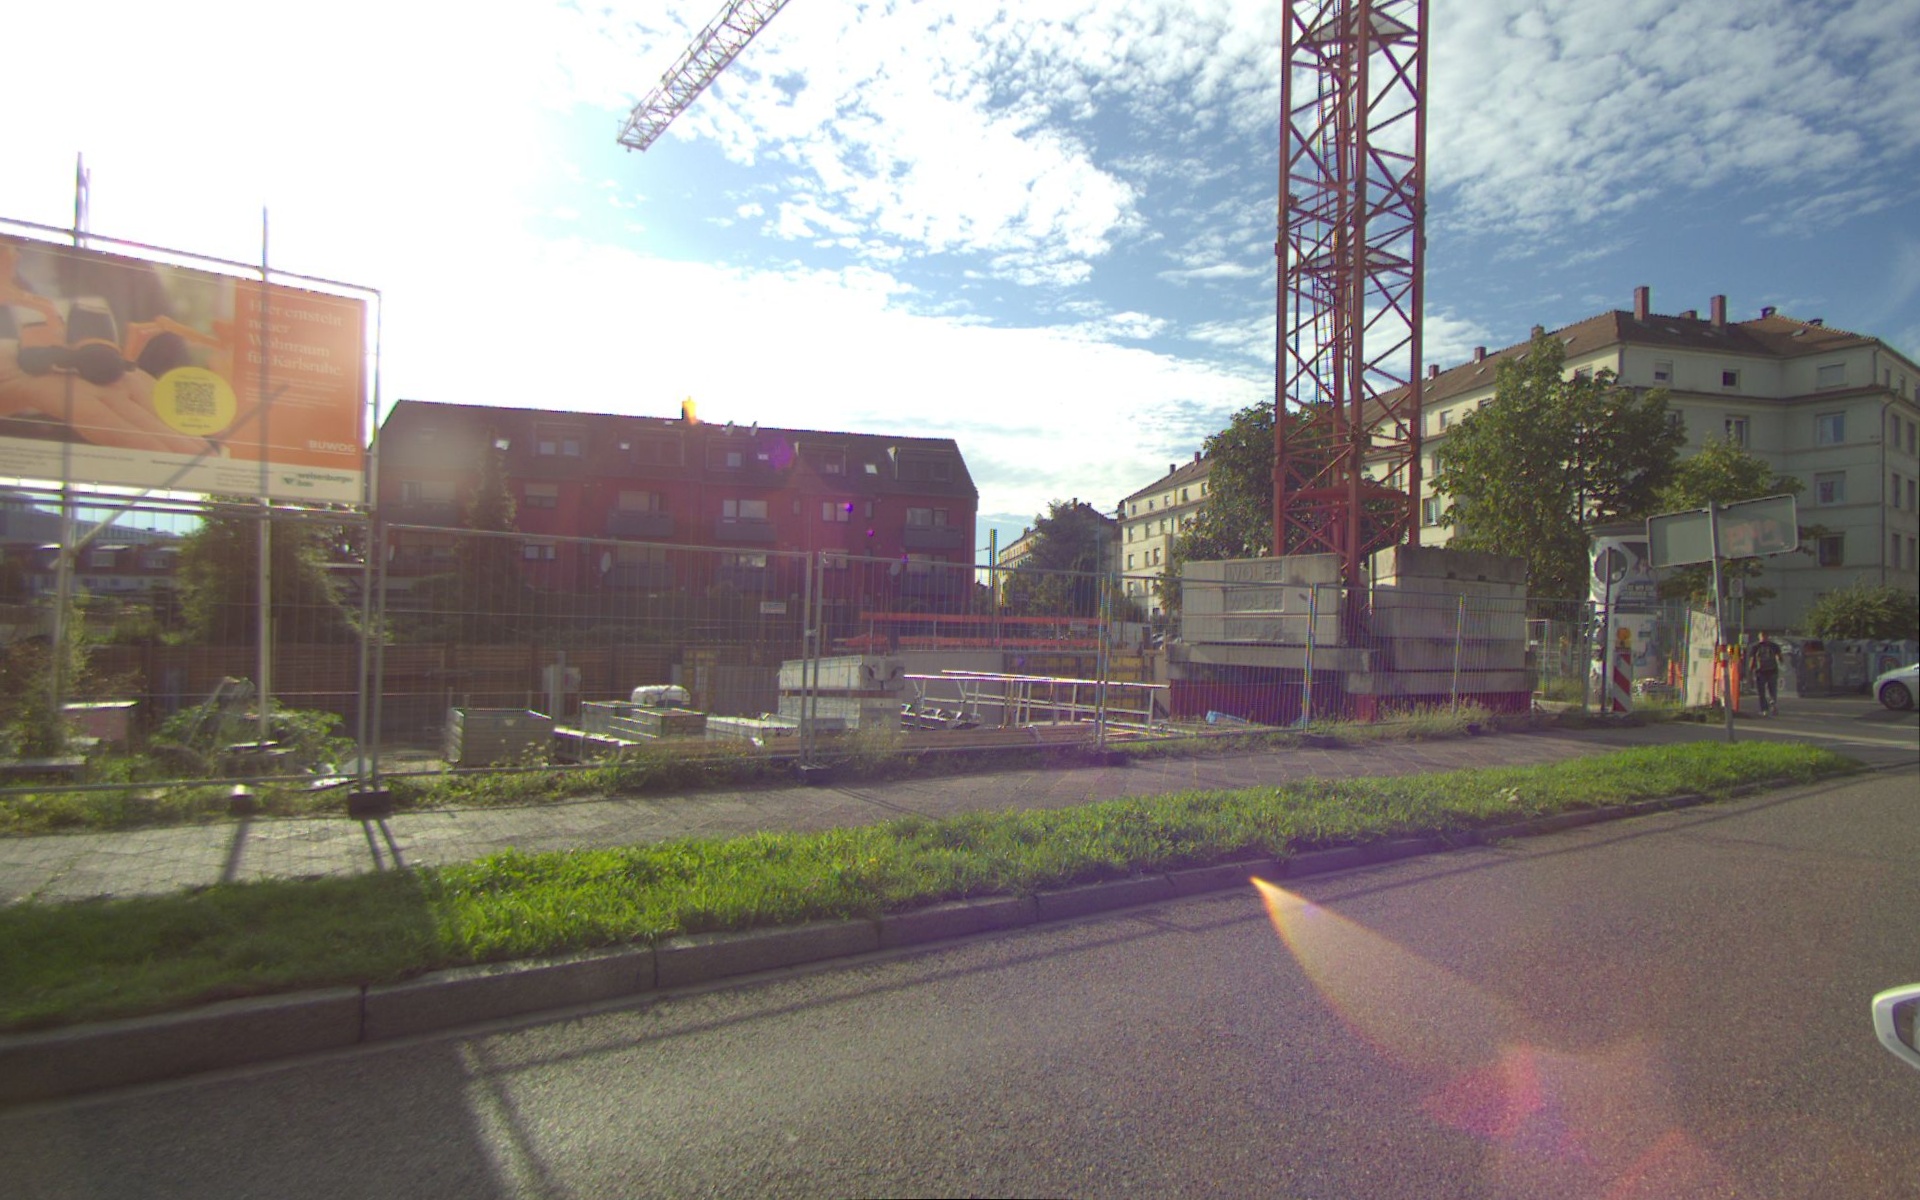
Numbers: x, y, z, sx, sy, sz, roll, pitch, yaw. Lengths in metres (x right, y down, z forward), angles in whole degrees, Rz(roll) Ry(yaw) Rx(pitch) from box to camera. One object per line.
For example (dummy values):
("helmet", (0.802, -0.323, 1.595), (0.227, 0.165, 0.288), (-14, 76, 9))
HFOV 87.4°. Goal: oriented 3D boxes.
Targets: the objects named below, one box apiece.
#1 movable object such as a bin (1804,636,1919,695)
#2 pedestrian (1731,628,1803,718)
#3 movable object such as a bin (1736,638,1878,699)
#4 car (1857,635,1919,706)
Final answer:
("movable object such as a bin", (29.645, 2.104, 32.657), (1.388, 1.730, 3.101), (2, -1, -18))
("pedestrian", (16.591, 1.485, 20.646), (1.170, 1.750, 0.997), (4, -2, -44))
("movable object such as a bin", (26.773, 2.145, 31.858), (1.523, 1.730, 3.102), (2, -1, -17))
("car", (22.745, 1.622, 22.083), (1.963, 1.575, 4.269), (2, -1, -7))
